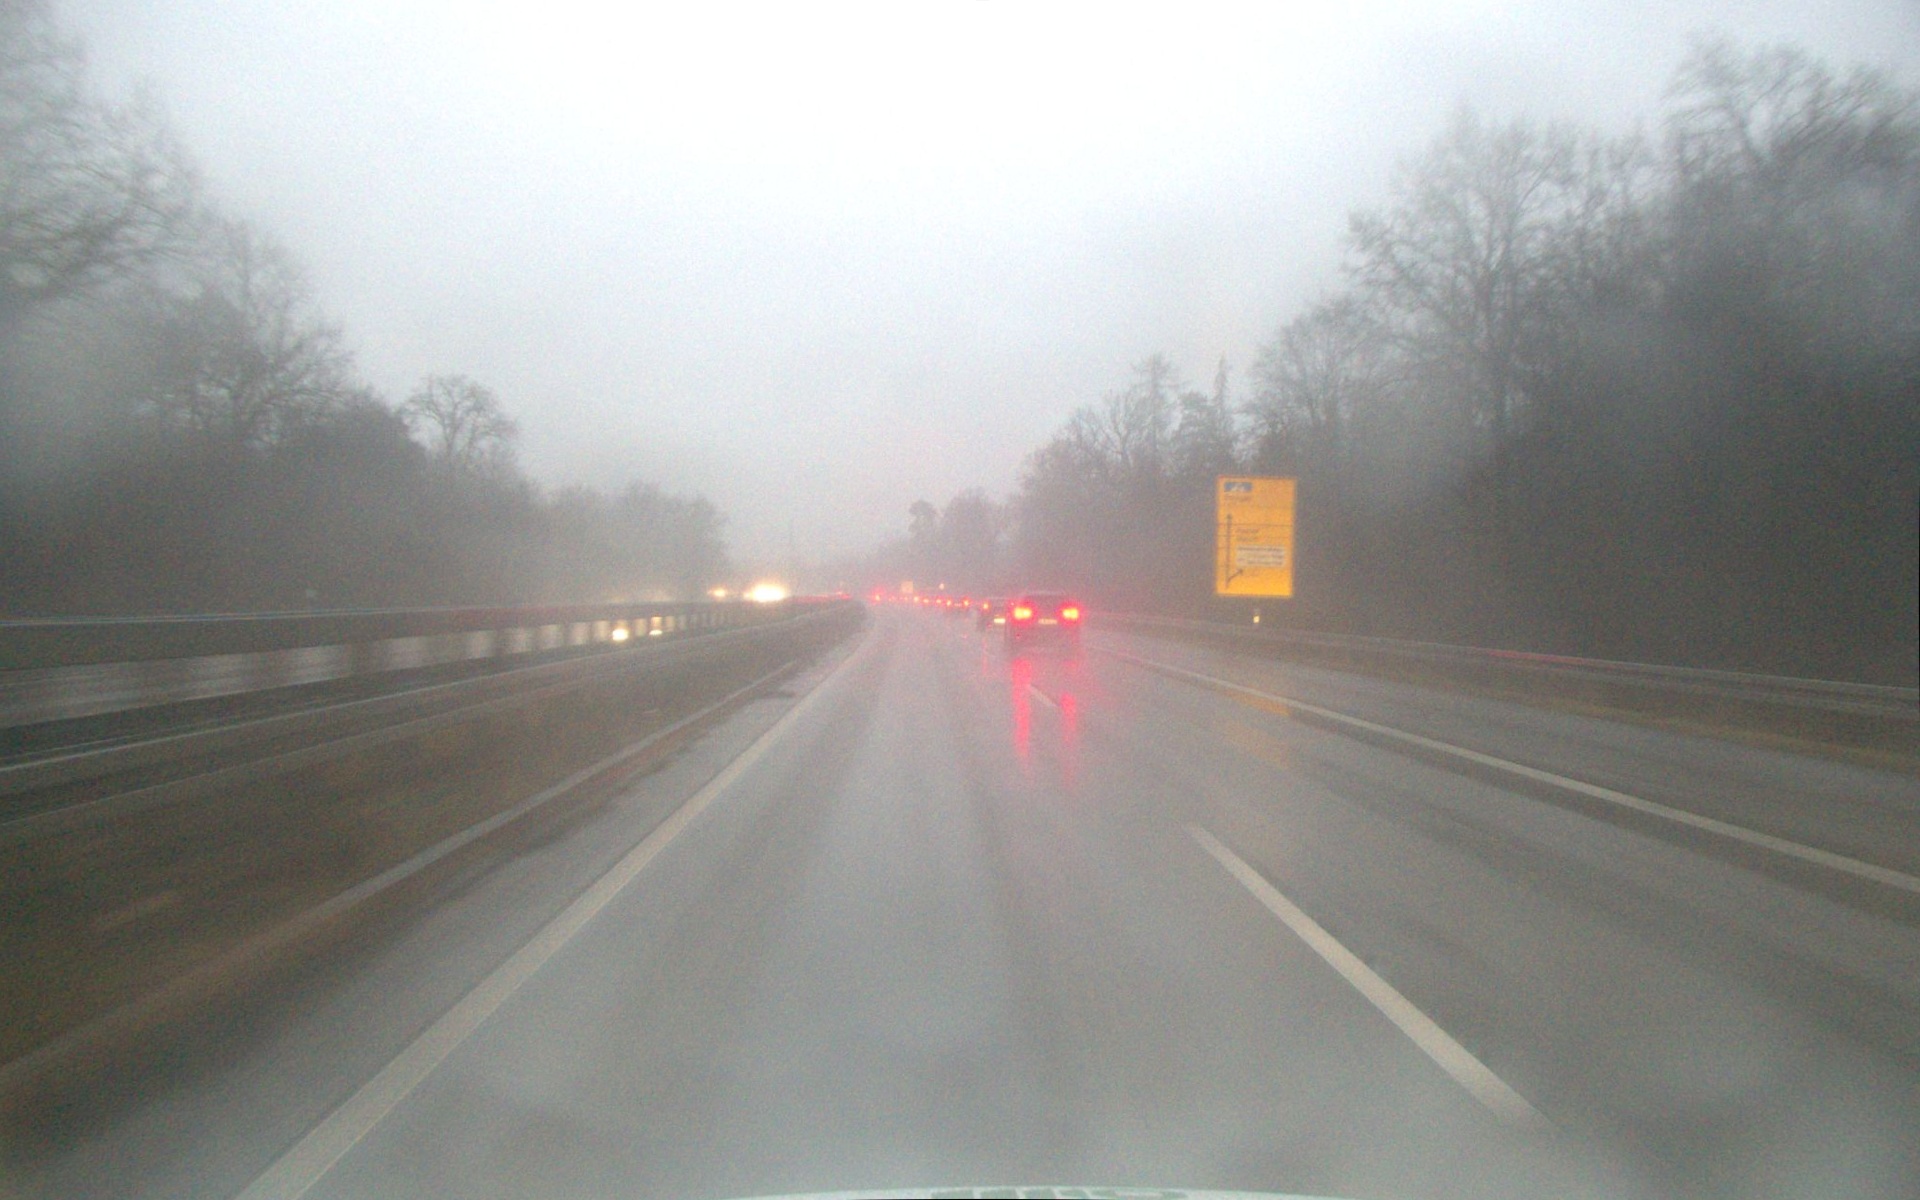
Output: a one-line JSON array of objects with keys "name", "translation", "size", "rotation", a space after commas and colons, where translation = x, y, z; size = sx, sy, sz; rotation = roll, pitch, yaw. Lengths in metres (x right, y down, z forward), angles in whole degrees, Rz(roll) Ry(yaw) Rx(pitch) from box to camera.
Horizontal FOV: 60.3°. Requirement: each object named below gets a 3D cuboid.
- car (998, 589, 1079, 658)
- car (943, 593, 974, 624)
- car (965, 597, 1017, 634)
[{"name": "car", "translation": [2.068, 0.614, 44.308], "size": [1.951, 1.745, 3.829], "rotation": [1, 0, 0]}, {"name": "car", "translation": [-0.142, 0.575, 114.524], "size": [1.953, 2.049, 3.998], "rotation": [1, 0, -2]}, {"name": "car", "translation": [1.300, 0.661, 70.071], "size": [1.953, 1.445, 3.998], "rotation": [3, -1, -2]}]
